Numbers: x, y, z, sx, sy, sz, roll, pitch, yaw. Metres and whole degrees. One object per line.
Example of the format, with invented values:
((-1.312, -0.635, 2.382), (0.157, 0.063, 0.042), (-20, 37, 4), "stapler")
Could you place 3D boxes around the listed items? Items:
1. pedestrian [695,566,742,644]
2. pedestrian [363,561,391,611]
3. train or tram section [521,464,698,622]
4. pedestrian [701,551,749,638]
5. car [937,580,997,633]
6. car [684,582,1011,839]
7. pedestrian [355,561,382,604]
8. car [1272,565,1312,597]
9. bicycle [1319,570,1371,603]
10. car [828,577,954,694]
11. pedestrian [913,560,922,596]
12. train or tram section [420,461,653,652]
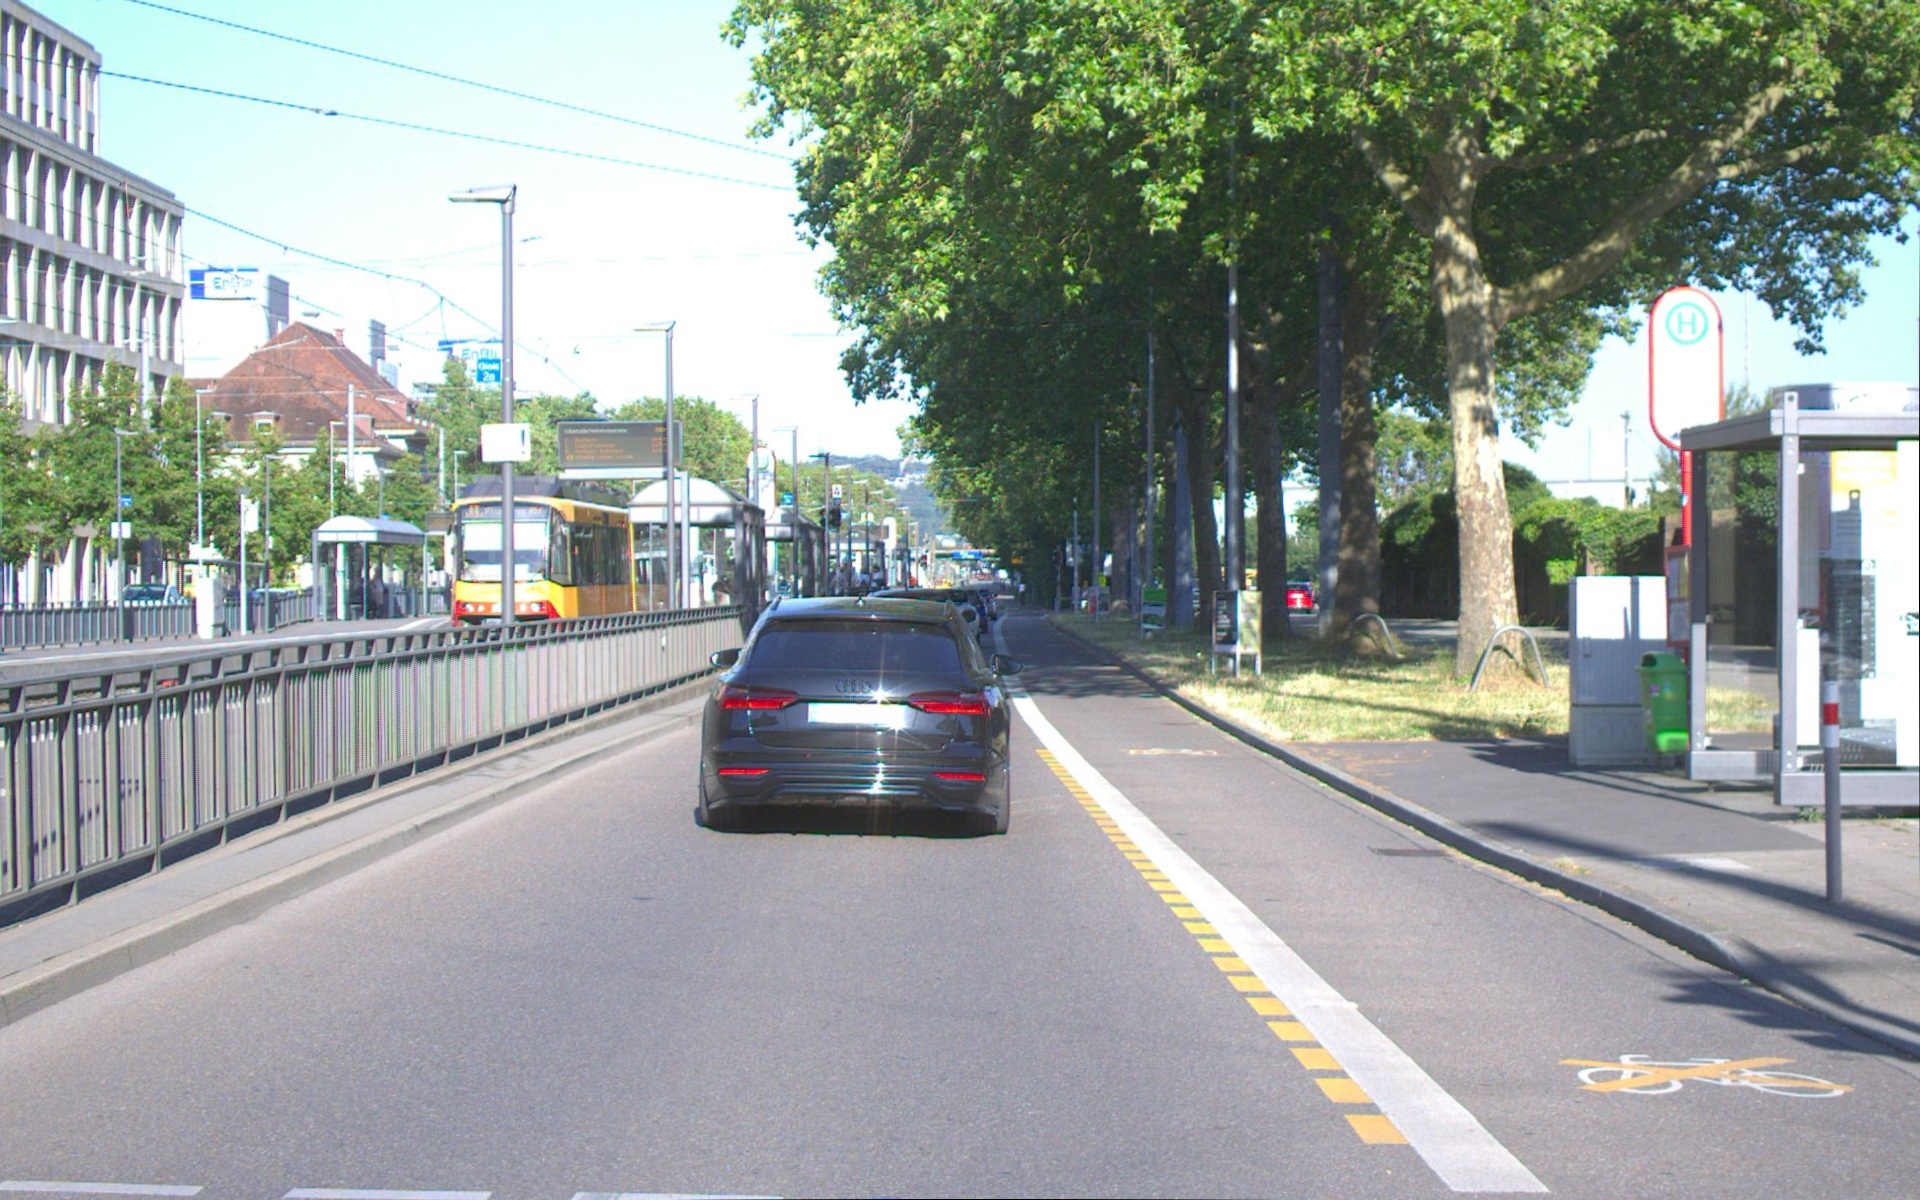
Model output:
((-3.989, 0.077, 56.848), (0.742, 1.269, 0.525), (0, 0, 0), "pedestrian")
((-17.648, -0.425, 104.070), (0.614, 1.522, 0.724), (0, 0, 9), "pedestrian")
((-8.931, -1.426, 89.143), (3.309, 3.816, 11.843), (0, 0, 0), "train or tram section")
((-4.127, -0.097, 60.446), (0.746, 1.503, 0.666), (-1, 0, 3), "pedestrian")
((0.208, 0.187, 107.752), (1.762, 1.614, 4.000), (0, 0, -2), "car")
((-0.697, 0.630, 21.531), (1.878, 1.452, 3.357), (0, 1, -2), "car")
((-17.496, -0.520, 101.713), (0.614, 1.256, 0.724), (0, 0, 5), "pedestrian")
((15.879, -0.908, 164.508), (1.614, 1.510, 3.803), (0, 0, 1), "car")
((13.607, -0.492, 121.532), (1.773, 1.116, 0.439), (-2, 0, 0), "bicycle")
((-1.017, 0.485, 50.132), (1.762, 1.614, 4.000), (0, 0, -2), "car")
((-2.002, -1.050, 162.104), (0.412, 1.711, 0.665), (0, 0, 1), "pedestrian")
((-9.120, -0.920, 76.038), (3.309, 3.816, 14.219), (0, 0, 0), "train or tram section")
